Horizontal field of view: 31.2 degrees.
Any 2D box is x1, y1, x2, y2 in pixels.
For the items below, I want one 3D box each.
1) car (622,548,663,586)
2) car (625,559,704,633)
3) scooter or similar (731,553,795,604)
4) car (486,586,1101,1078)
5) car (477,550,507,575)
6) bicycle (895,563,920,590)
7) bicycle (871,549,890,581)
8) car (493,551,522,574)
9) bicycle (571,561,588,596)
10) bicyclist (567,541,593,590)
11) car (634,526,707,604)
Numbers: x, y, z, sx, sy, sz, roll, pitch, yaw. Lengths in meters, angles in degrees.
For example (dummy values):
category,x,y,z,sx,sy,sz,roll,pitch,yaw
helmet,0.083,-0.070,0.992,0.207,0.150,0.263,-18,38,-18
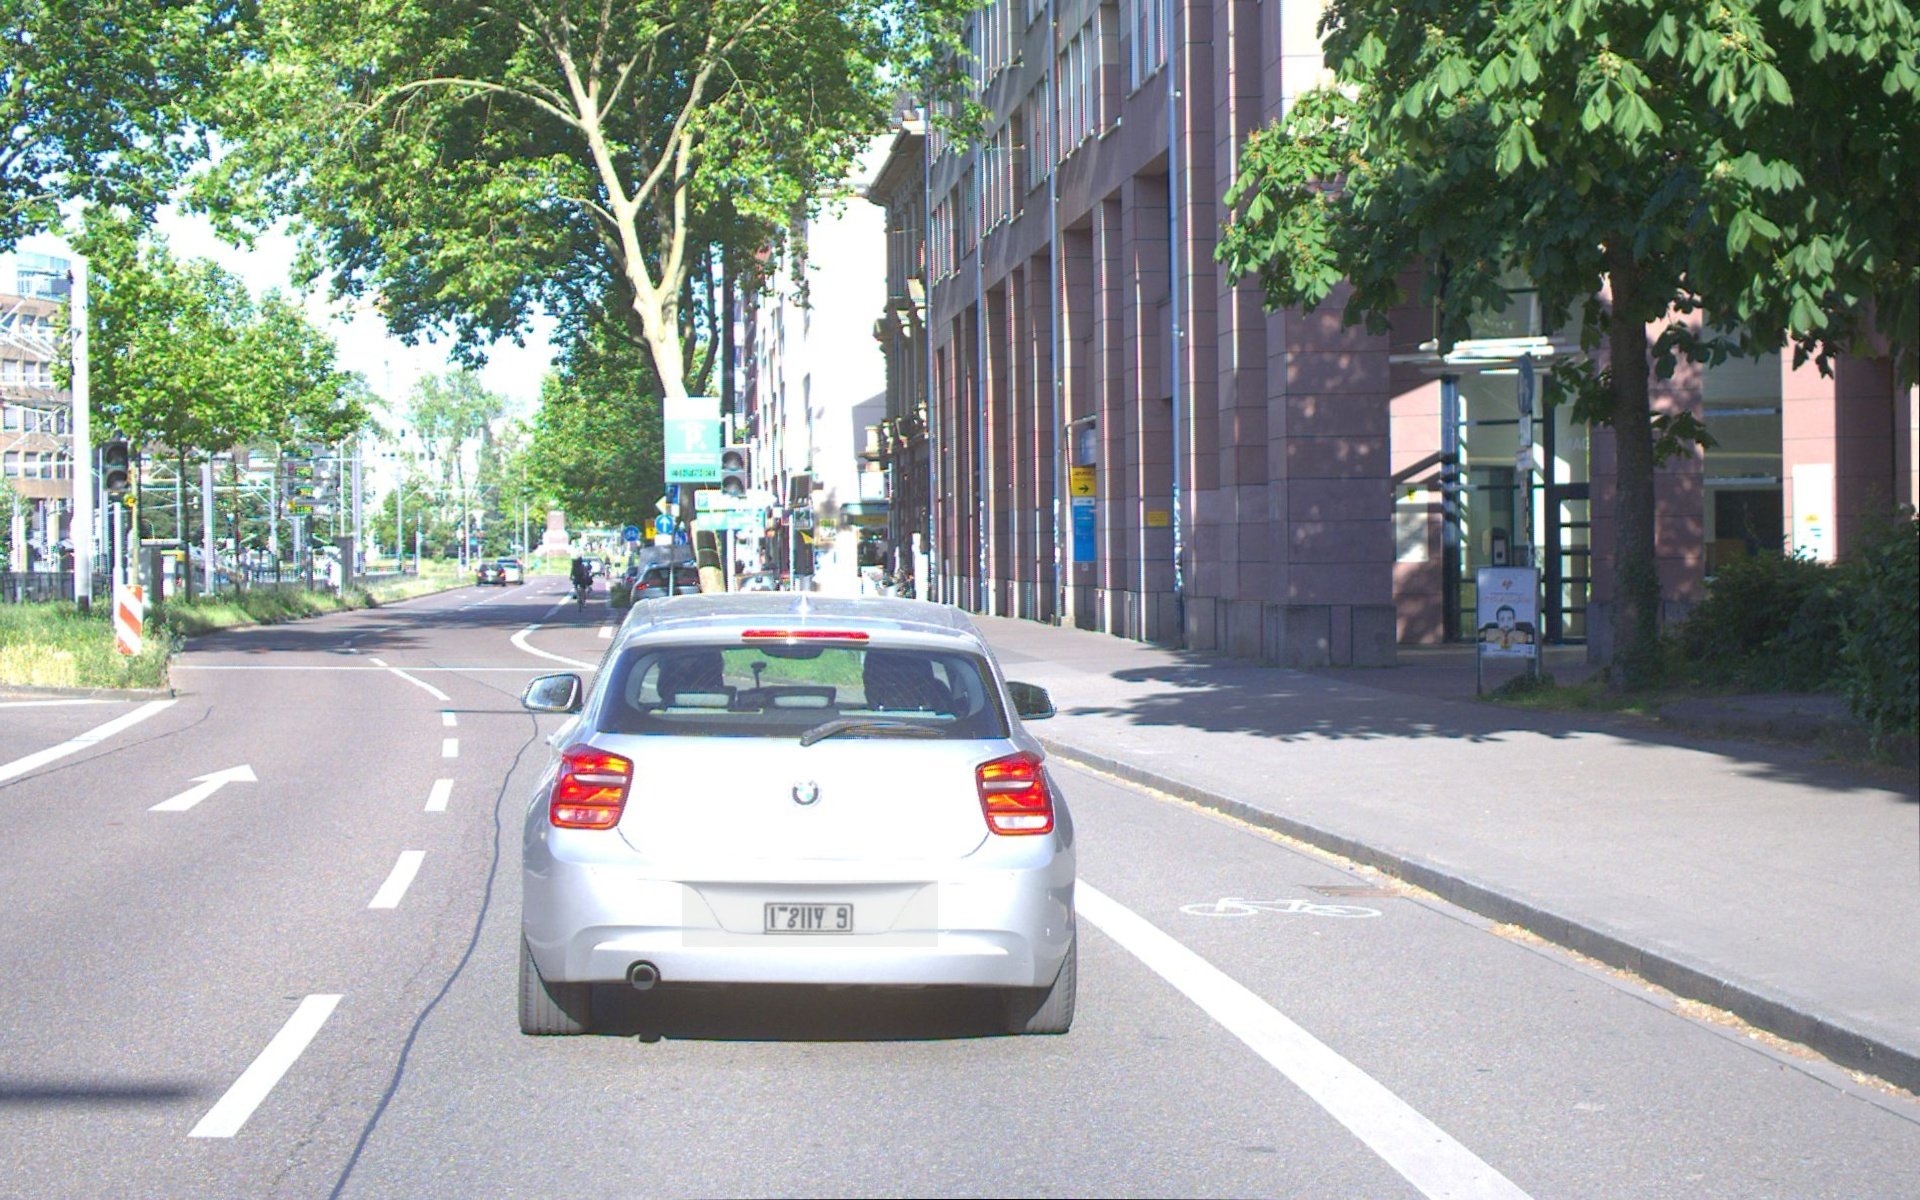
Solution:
category,x,y,z,sx,sy,sz,roll,pitch,yaw
car,-13.915,-1.461,150.501,1.694,1.497,3.802,-3,2,-6
car,-6.467,-0.104,75.535,1.668,1.565,4.280,1,1,-4
scooter or similar,-4.872,-0.526,84.958,1.540,1.233,0.449,-1,1,-5
car,-0.608,0.683,12.165,1.798,1.410,4.001,1,1,-3
car,-27.873,-2.231,204.724,1.726,1.465,4.411,-1,1,-8
bicycle,-1.553,-0.695,101.425,0.548,0.771,1.663,-3,1,-6
bicycle,-2.518,-1.102,108.804,0.414,0.994,1.883,0,1,-6
car,-28.074,-2.352,213.410,1.644,1.416,4.001,0,1,-6
bicycle,-12.033,-0.676,108.668,0.499,1.085,1.997,1,1,-6
bicyclist,-12.010,-1.087,108.710,0.785,1.526,0.895,1,0,-6
car,-7.779,-0.931,92.135,1.856,2.007,4.725,1,1,-6
